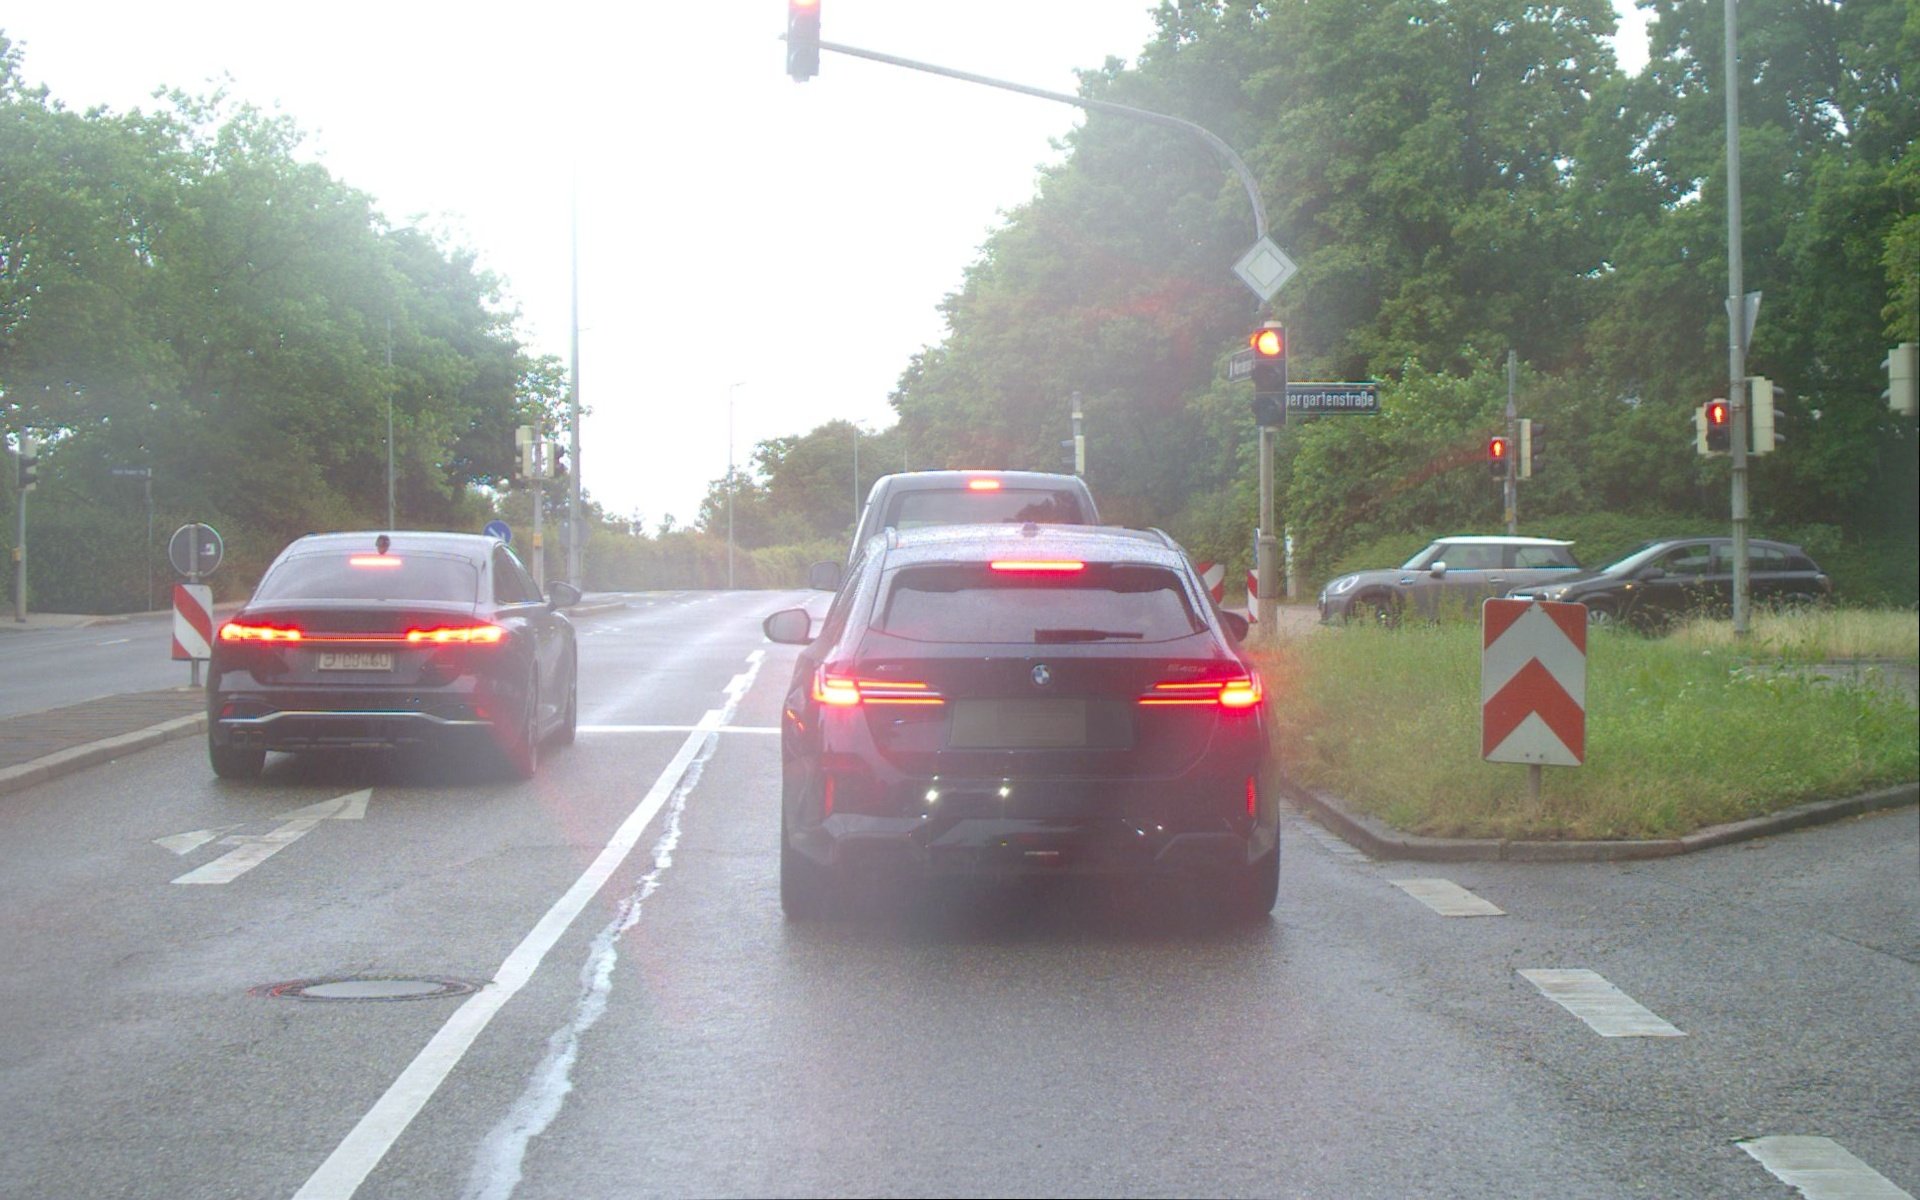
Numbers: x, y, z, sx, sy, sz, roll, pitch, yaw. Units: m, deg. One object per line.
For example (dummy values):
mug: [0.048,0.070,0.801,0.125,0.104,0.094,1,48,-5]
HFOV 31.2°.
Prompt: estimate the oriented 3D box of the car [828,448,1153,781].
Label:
car: [0.167,0.051,21.481,1.818,1.862,3.952,1,1,0]

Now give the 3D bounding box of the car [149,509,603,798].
car: [-3.412,0.260,20.928,1.993,1.522,4.328,-2,1,0]

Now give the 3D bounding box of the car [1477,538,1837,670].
car: [8.676,0.030,42.977,3.986,1.504,1.902,-1,1,-7]

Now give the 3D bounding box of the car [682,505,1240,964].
car: [0.115,0.451,14.166,1.898,1.546,4.614,1,0,3]

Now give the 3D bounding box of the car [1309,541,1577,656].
car: [6.626,-0.016,47.402,3.502,1.422,1.703,-2,0,4]

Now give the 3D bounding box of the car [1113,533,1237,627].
car: [3.747,-0.373,60.532,1.873,1.537,3.952,-2,1,0]

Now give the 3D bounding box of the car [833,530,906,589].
car: [-2.612,-1.181,100.083,1.993,1.618,3.952,-2,1,0]
